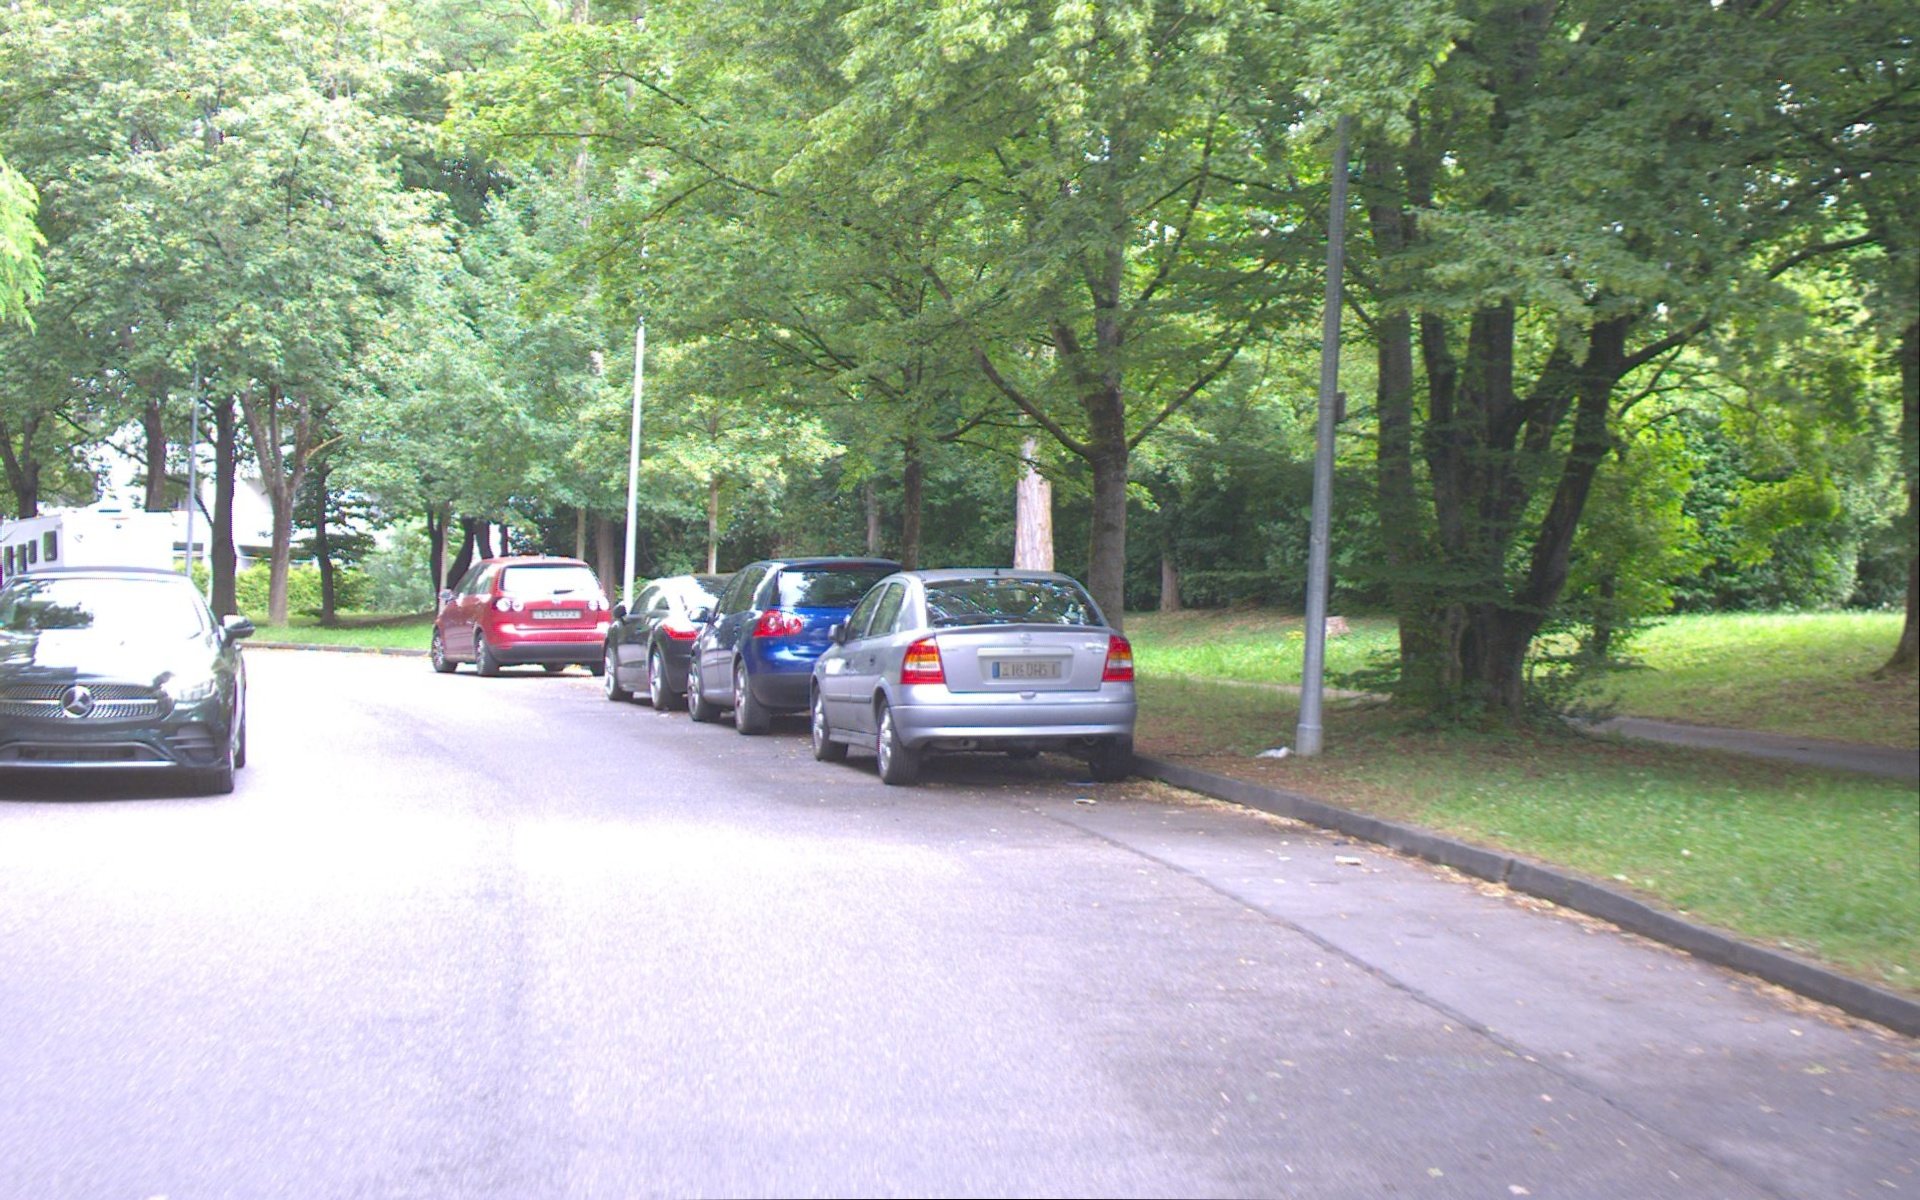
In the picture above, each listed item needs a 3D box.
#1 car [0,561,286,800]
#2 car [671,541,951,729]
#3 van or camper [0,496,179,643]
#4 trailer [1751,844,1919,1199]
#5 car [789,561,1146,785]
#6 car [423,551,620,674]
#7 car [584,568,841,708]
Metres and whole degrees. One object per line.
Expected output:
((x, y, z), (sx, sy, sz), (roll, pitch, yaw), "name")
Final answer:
((-5.561, 0.480, 22.850), (1.790, 1.384, 4.492), (2, 0, -8), "car")
((-1.405, 0.290, 30.709), (1.713, 1.504, 4.182), (2, 0, -13), "car")
((-18.605, -0.678, 73.093), (2.429, 2.997, 5.209), (-1, 1, -30), "van or camper")
((2.622, 1.007, 6.358), (1.363, 0.845, 3.279), (2, 0, -3), "trailer")
((-0.039, 0.464, 24.130), (1.717, 1.426, 3.950), (0, 0, -12), "car")
((-5.882, 0.157, 45.776), (1.738, 1.557, 4.001), (0, 0, -20), "car")
((-2.614, 0.354, 35.329), (1.749, 1.332, 4.417), (1, 0, -16), "car")
